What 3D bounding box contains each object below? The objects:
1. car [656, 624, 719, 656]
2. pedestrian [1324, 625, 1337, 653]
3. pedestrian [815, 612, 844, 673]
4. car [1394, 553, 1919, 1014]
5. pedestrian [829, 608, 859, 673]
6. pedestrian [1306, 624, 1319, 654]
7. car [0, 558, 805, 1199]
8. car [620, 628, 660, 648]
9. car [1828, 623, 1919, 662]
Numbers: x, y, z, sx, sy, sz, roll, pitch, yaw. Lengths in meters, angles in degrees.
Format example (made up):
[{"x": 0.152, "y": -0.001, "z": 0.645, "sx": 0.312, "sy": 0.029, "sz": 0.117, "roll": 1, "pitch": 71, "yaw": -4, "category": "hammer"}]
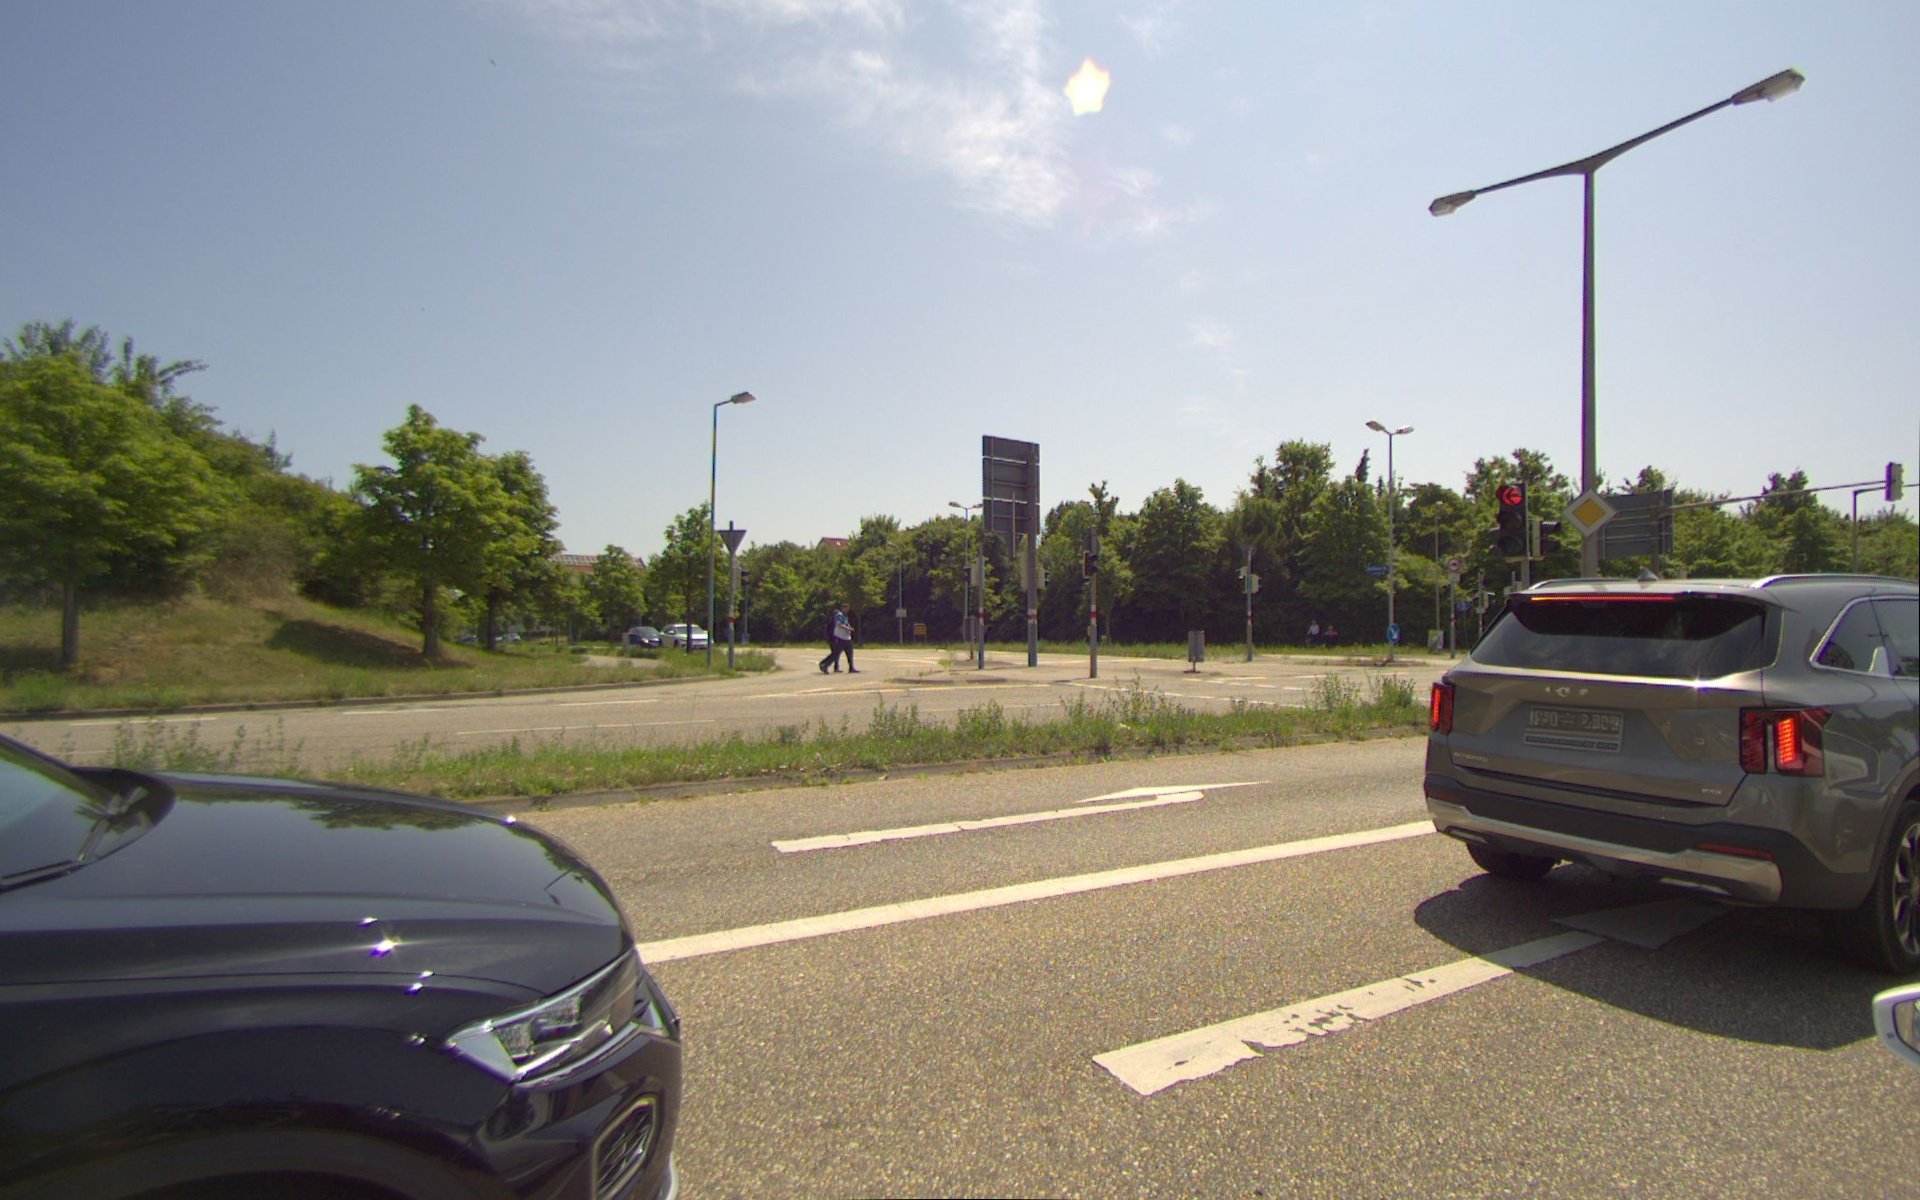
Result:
[{"x": -14.280, "y": 2.064, "z": 52.569, "sx": 1.860, "sy": 1.522, "sz": 4.269, "roll": -2, "pitch": -1, "yaw": -34, "category": "car"}, {"x": 20.578, "y": 2.165, "z": 55.763, "sx": 0.606, "sy": 1.523, "sz": 0.798, "roll": 0, "pitch": -1, "yaw": 24, "category": "pedestrian"}, {"x": -3.703, "y": 1.194, "z": 28.549, "sx": 0.761, "sy": 1.722, "sz": 0.723, "roll": 0, "pitch": -1, "yaw": -11, "category": "pedestrian"}, {"x": 4.685, "y": 0.732, "z": 5.633, "sx": 4.590, "sy": 1.684, "sz": 1.795, "roll": 1, "pitch": -1, "yaw": -30, "category": "car"}, {"x": -3.198, "y": 1.113, "z": 27.589, "sx": 0.779, "sy": 1.759, "sz": 0.582, "roll": 0, "pitch": -1, "yaw": -11, "category": "pedestrian"}, {"x": 19.747, "y": 2.171, "z": 56.249, "sx": 0.606, "sy": 1.624, "sz": 0.798, "roll": -1, "pitch": -1, "yaw": 24, "category": "pedestrian"}, {"x": -2.393, "y": 0.682, "z": 1.441, "sx": 3.924, "sy": 1.532, "sz": 1.726, "roll": 2, "pitch": 0, "yaw": -30, "category": "car"}, {"x": -22.089, "y": 2.592, "z": 69.231, "sx": 1.685, "sy": 1.353, "sz": 3.964, "roll": 1, "pitch": -2, "yaw": -33, "category": "car"}, {"x": 36.479, "y": 1.643, "z": 39.896, "sx": 4.119, "sy": 1.475, "sz": 1.814, "roll": 1, "pitch": -1, "yaw": -30, "category": "car"}]
